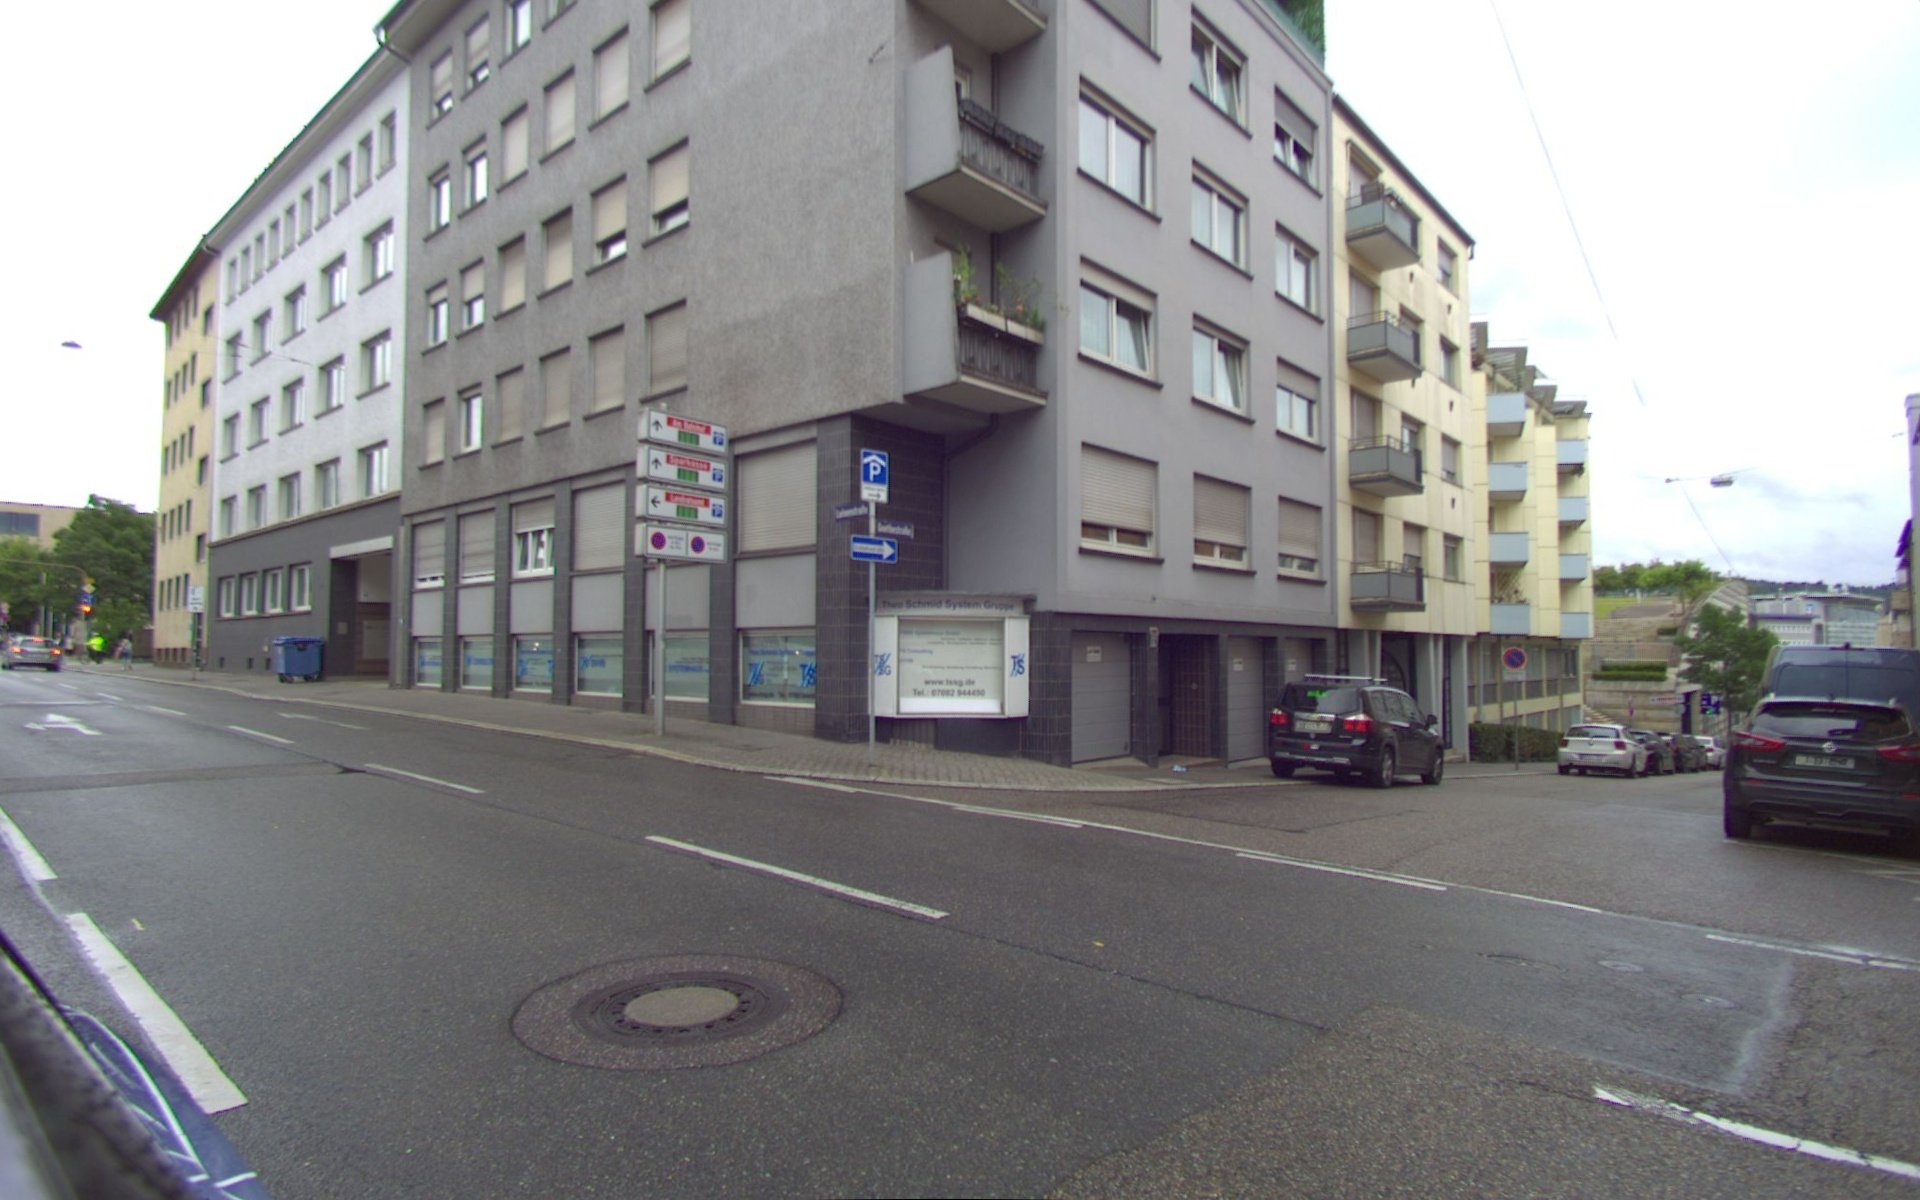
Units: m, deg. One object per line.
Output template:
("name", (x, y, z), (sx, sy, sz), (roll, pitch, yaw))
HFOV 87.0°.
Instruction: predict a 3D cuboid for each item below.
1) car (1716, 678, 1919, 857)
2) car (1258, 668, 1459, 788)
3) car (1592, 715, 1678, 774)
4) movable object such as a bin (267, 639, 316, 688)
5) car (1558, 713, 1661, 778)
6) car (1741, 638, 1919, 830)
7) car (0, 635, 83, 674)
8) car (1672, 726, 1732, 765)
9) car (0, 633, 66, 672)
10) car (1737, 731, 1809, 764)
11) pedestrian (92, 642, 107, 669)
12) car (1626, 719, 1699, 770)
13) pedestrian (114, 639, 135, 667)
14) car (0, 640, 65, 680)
("car", (9.740, 1.823, 11.219), (1.842, 1.589, 4.098), (-2, -8, 41))
("car", (6.764, 2.159, 16.925), (1.795, 1.700, 4.186), (-2, -8, 41))
("car", (21.217, 4.537, 31.750), (1.747, 1.627, 3.945), (-2, -7, 41))
("movable object such as a bin", (-19.484, 1.825, 29.494), (1.096, 1.343, 0.933), (-2, 0, 42))
("car", (18.032, 4.028, 28.036), (1.840, 1.559, 3.945), (-2, -7, 41))
("car", (13.949, 2.080, 15.906), (2.250, 2.481, 5.975), (-2, -7, 41))
("car", (-46.554, 2.712, 50.571), (1.902, 1.728, 3.877), (-2, 0, 42))
("car", (32.202, 6.314, 43.873), (1.747, 1.476, 3.945), (-2, -8, 41))
("car", (-48.471, 2.715, 51.882), (1.692, 1.847, 3.744), (-2, 0, 42))
("car", (47.652, 8.653, 59.323), (3.984, 1.688, 1.937), (7, -7, -29))
("pedestrian", (-45.012, 2.884, 52.937), (0.535, 1.380, 0.436), (-2, -6, 43))
("car", (25.637, 5.294, 36.898), (1.747, 1.627, 3.945), (-2, -8, 41))
("pedestrian", (-35.535, 2.266, 43.041), (0.407, 1.158, 0.575), (-2, -6, 43))
("car", (-40.079, 2.542, 43.523), (4.371, 1.602, 1.858), (-1, -3, 42))
